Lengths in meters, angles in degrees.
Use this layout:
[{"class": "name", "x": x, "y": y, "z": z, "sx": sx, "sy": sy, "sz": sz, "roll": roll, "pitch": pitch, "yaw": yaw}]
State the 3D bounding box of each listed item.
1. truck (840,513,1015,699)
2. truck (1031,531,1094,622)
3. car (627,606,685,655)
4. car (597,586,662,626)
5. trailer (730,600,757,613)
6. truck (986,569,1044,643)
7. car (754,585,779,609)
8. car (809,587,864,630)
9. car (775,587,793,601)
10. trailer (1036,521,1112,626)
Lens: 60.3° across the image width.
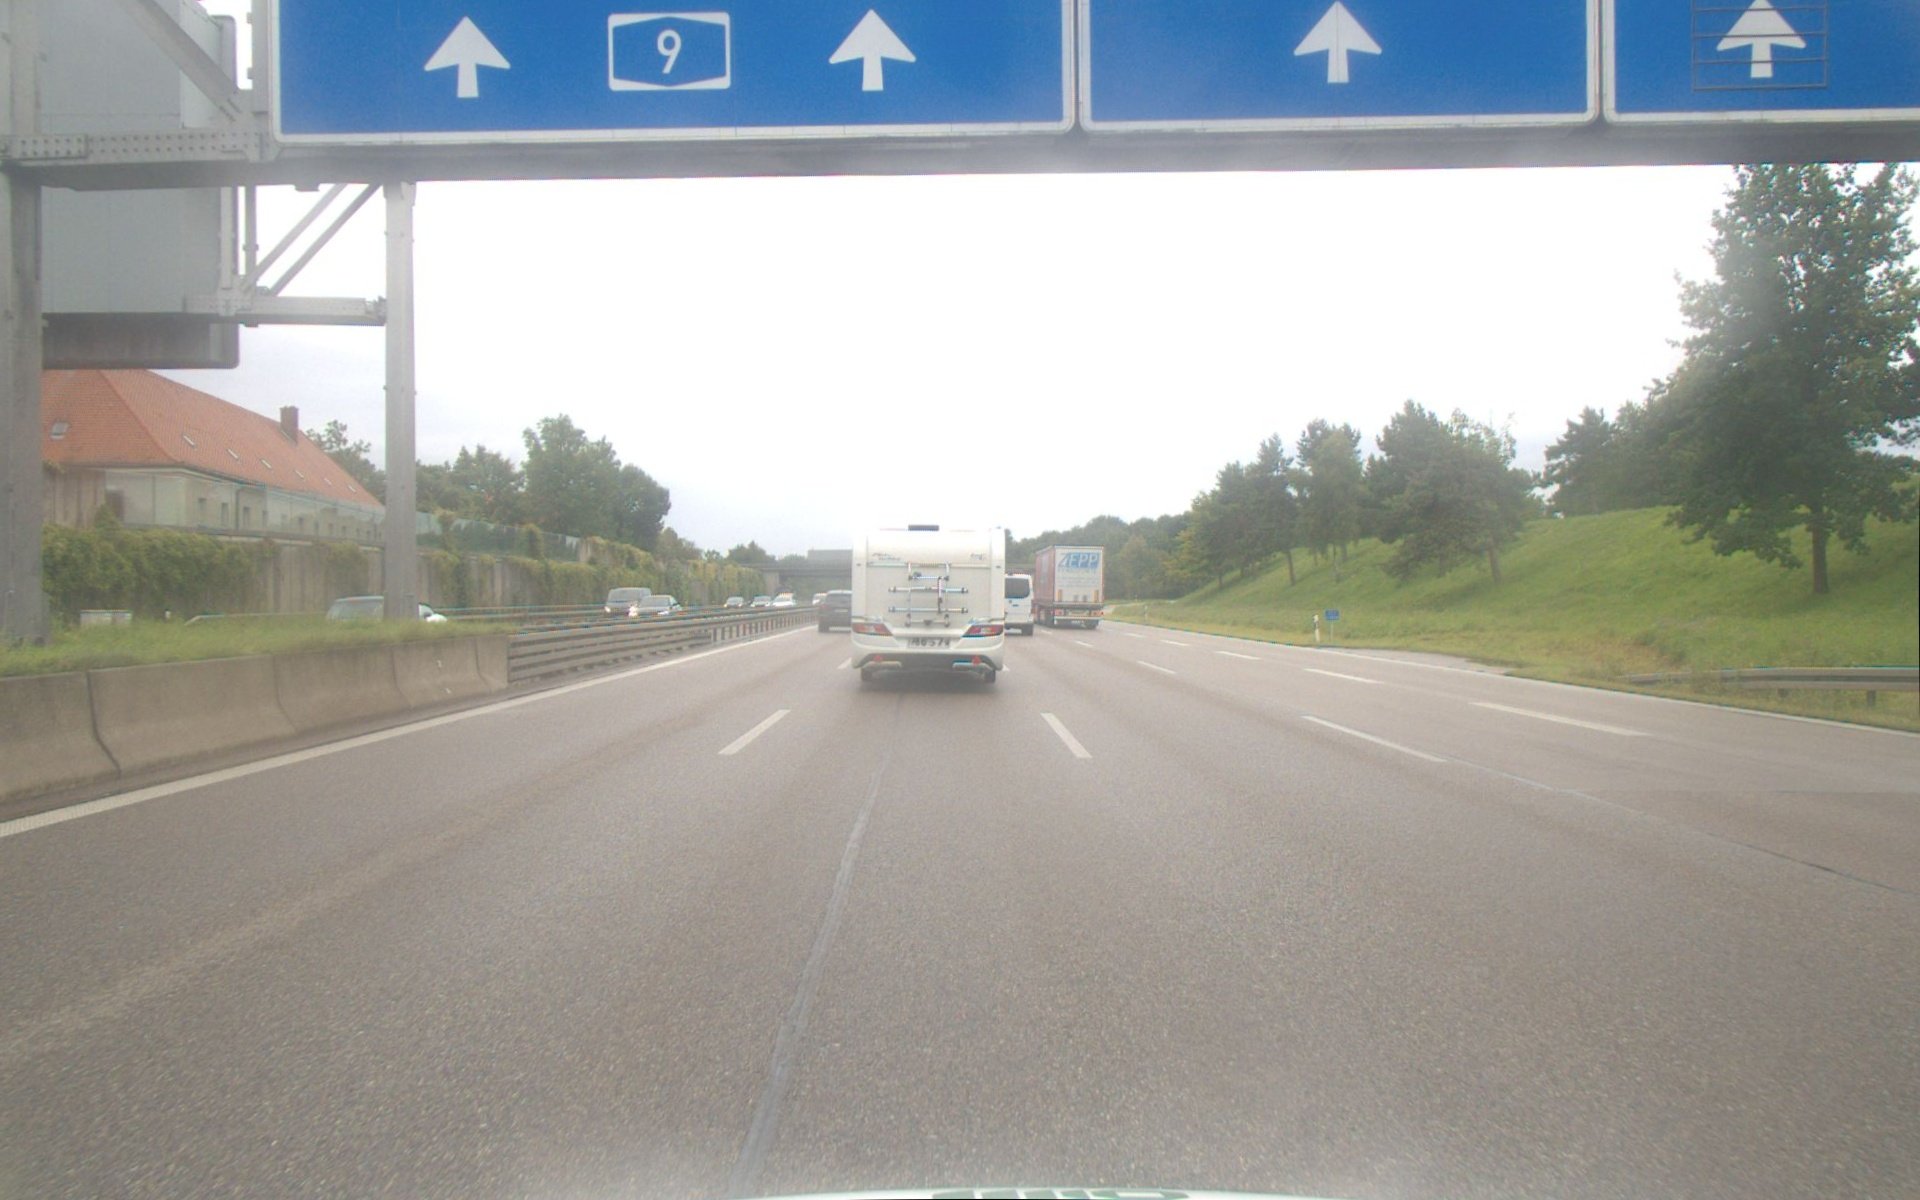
[{"class": "truck", "x": -0.556, "y": 0.103, "z": 27.835, "sx": 2.607, "sy": 2.790, "sz": 5.076, "roll": 1, "pitch": 0, "yaw": -2}, {"class": "truck", "x": 5.731, "y": -1.270, "z": 93.361, "sx": 2.986, "sy": 4.924, "sz": 5.849, "roll": 1, "pitch": 0, "yaw": -1}, {"class": "car", "x": -13.239, "y": 1.296, "z": 72.226, "sx": 1.816, "sy": 2.049, "sz": 3.851, "roll": 1, "pitch": 0, "yaw": -1}, {"class": "car", "x": -17.263, "y": 0.320, "z": 86.654, "sx": 2.164, "sy": 2.006, "sz": 6.269, "roll": 1, "pitch": 0, "yaw": -1}, {"class": "trailer", "x": -22.179, "y": 0.694, "z": 169.442, "sx": 2.086, "sy": 1.289, "sz": 5.246, "roll": 1, "pitch": 0, "yaw": -1}, {"class": "truck", "x": 2.207, "y": 0.243, "z": 67.548, "sx": 2.012, "sy": 2.818, "sz": 5.547, "roll": 1, "pitch": 0, "yaw": -1}, {"class": "car", "x": -17.567, "y": -0.285, "z": 150.134, "sx": 1.894, "sy": 2.049, "sz": 4.730, "roll": 1, "pitch": 0, "yaw": -2}, {"class": "car", "x": -4.981, "y": 0.330, "z": 67.374, "sx": 1.953, "sy": 1.628, "sz": 5.122, "roll": 1, "pitch": 0, "yaw": -1}, {"class": "car", "x": -25.981, "y": -0.848, "z": 244.149, "sx": 1.952, "sy": 2.049, "sz": 4.001, "roll": 1, "pitch": 0, "yaw": 3}, {"class": "trailer", "x": 5.785, "y": -1.246, "z": 85.871, "sx": 3.036, "sy": 5.008, "sz": 11.789, "roll": 1, "pitch": 0, "yaw": 0}]
